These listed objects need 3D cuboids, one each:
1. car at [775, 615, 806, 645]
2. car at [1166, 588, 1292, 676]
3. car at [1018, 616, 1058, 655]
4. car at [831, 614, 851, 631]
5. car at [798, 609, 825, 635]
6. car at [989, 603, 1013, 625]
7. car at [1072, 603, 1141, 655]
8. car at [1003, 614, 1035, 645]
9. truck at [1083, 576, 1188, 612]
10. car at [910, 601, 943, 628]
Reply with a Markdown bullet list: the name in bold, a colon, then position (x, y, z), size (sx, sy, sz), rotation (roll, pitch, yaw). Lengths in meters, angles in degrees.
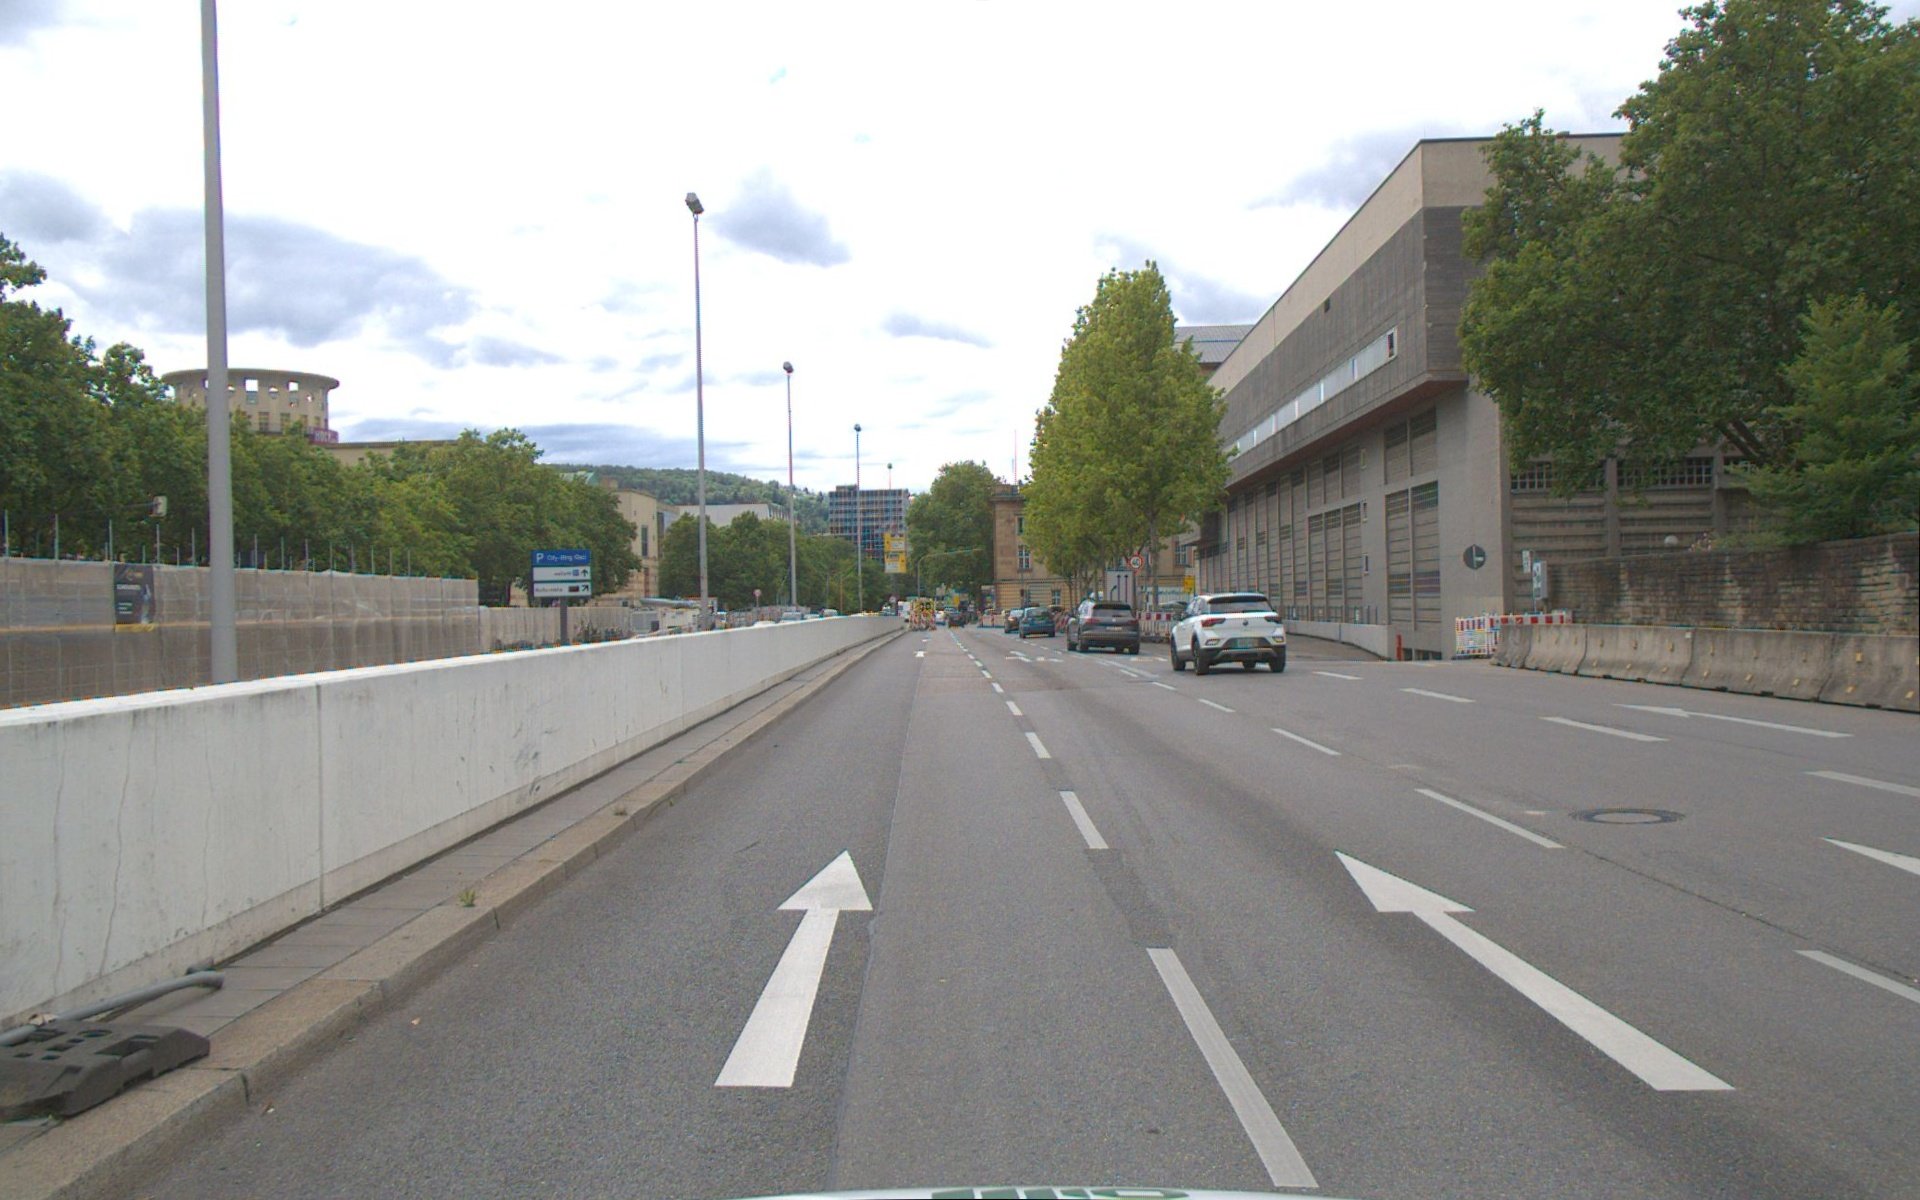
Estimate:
- **car**: position (-12.868, 2.249, 125.667), size (1.953, 2.048, 4.000), rotation (-2, 1, -1)
- **car**: position (5.415, 0.642, 33.831), size (1.715, 1.595, 4.330), rotation (-3, -1, -1)
- **car**: position (3.879, 1.717, 81.405), size (1.785, 1.771, 4.482), rotation (-2, 0, 4)
- **car**: position (-12.349, 2.342, 171.314), size (1.715, 1.595, 3.377), rotation (-4, -1, 0)
- **car**: position (-12.727, 1.891, 142.072), size (1.953, 2.048, 4.000), rotation (-2, 1, -1)
- **car**: position (3.538, 1.219, 142.302), size (1.785, 1.771, 4.482), rotation (-2, 0, 4)
- **car**: position (4.731, 0.955, 53.907), size (1.786, 1.595, 4.478), rotation (1, -1, -1)
- **car**: position (3.732, 1.842, 104.072), size (1.785, 1.771, 4.482), rotation (-2, 0, 4)
- **truck**: position (17.041, -0.612, 160.975), size (9.824, 3.104, 2.568), rotation (-2, -2, 0)
- **car**: position (-3.107, 1.371, 156.027), size (2.528, 2.416, 5.529), rotation (-2, 0, 4)
